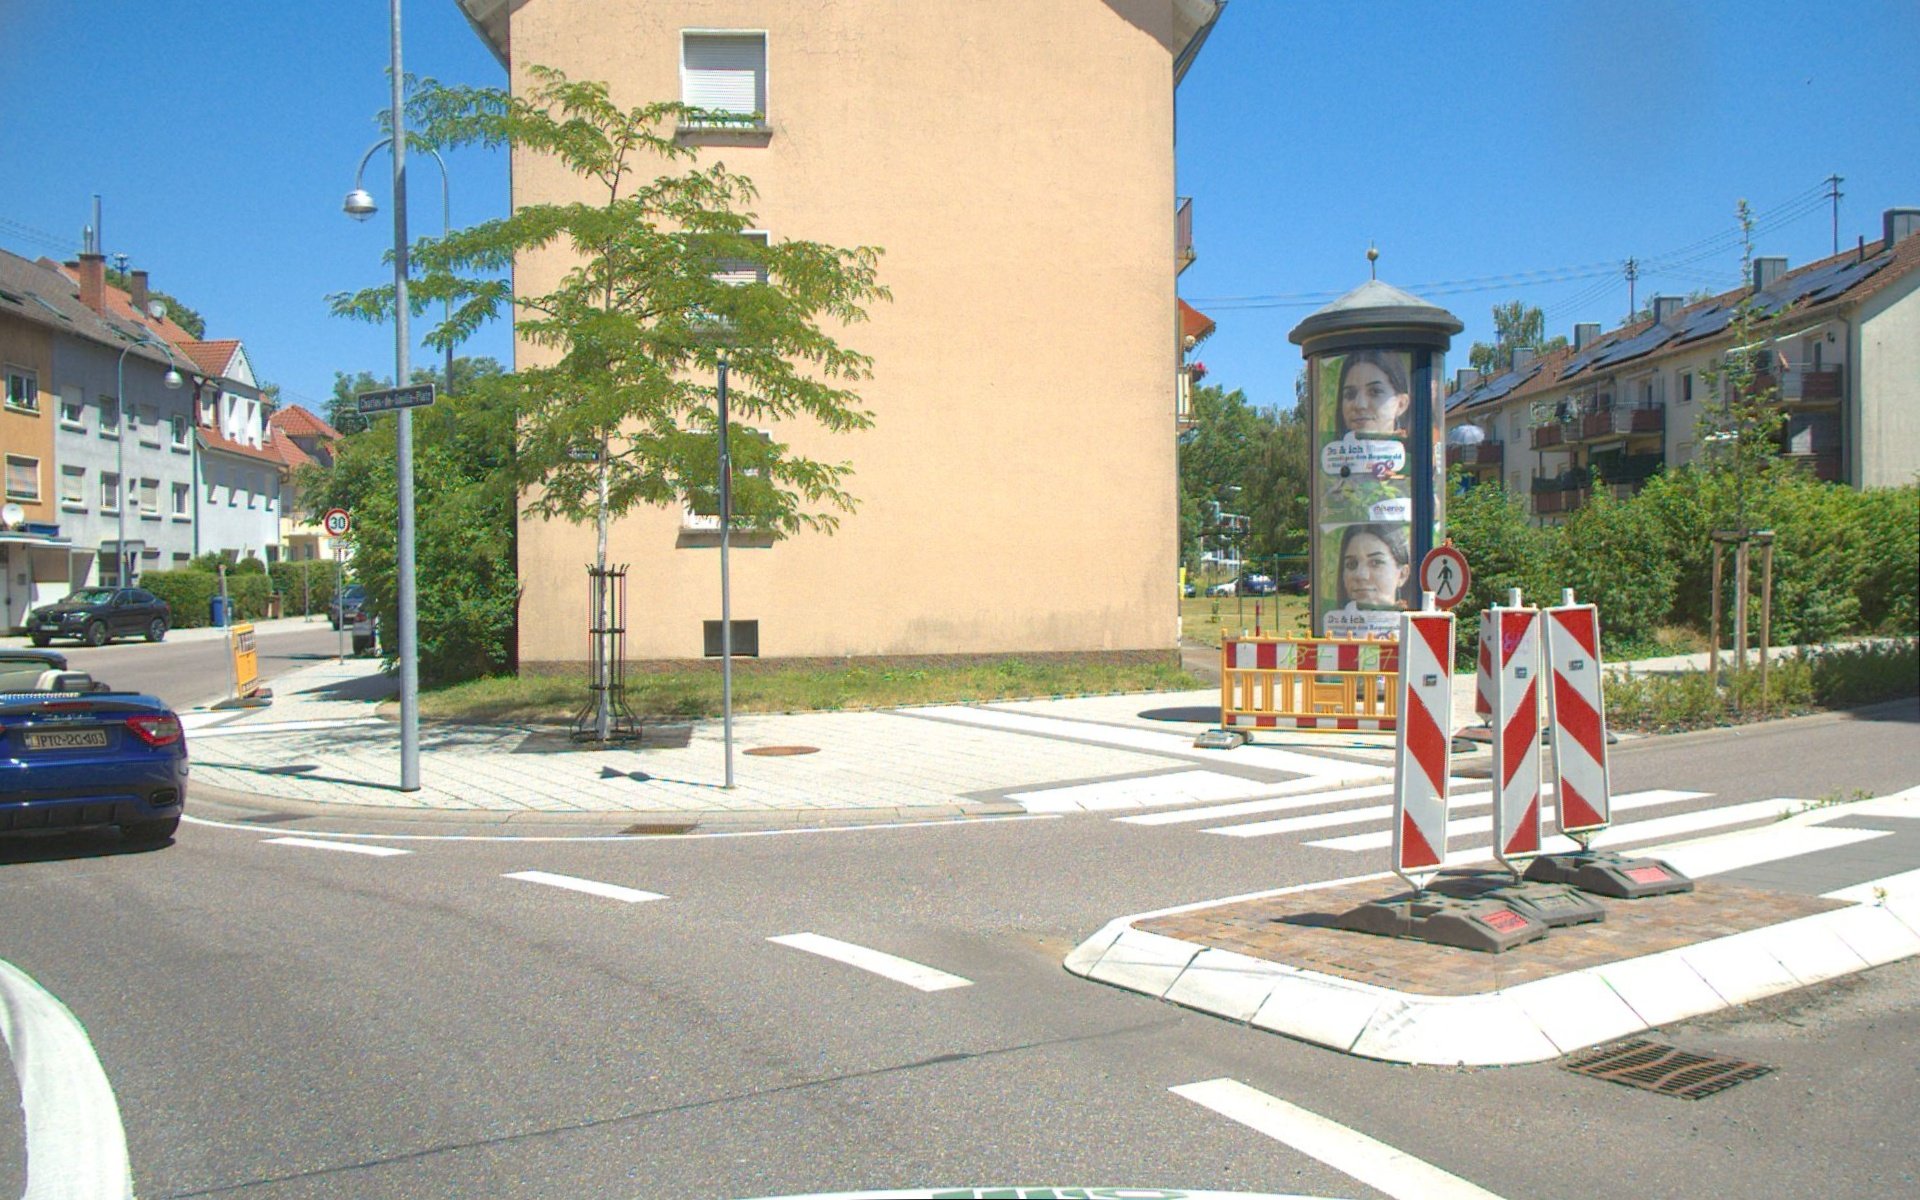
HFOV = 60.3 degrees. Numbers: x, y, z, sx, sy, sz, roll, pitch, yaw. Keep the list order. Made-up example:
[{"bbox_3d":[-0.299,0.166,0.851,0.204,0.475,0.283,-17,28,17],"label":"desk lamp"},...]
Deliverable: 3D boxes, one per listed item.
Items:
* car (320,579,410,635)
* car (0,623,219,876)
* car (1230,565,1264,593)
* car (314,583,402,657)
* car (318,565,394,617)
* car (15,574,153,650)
[{"bbox_3d":[-21.460,0.226,59.839,1.955,1.846,4.209,-3,1,-5],"label":"car"},{"bbox_3d":[-7.205,1.048,12.073,1.863,1.557,4.431,1,-4,-45],"label":"car"},{"bbox_3d":[15.796,-1.143,91.058,1.701,1.461,3.714,-2,0,11],"label":"car"},{"bbox_3d":[-15.048,0.459,41.474,1.849,1.659,3.574,0,2,-17],"label":"car"},{"bbox_3d":[-24.855,-0.366,68.209,2.028,2.049,3.994,-1,0,-7],"label":"car"},{"bbox_3d":[-25.071,0.320,47.502,2.027,2.049,3.996,-1,0,-5],"label":"car"}]
